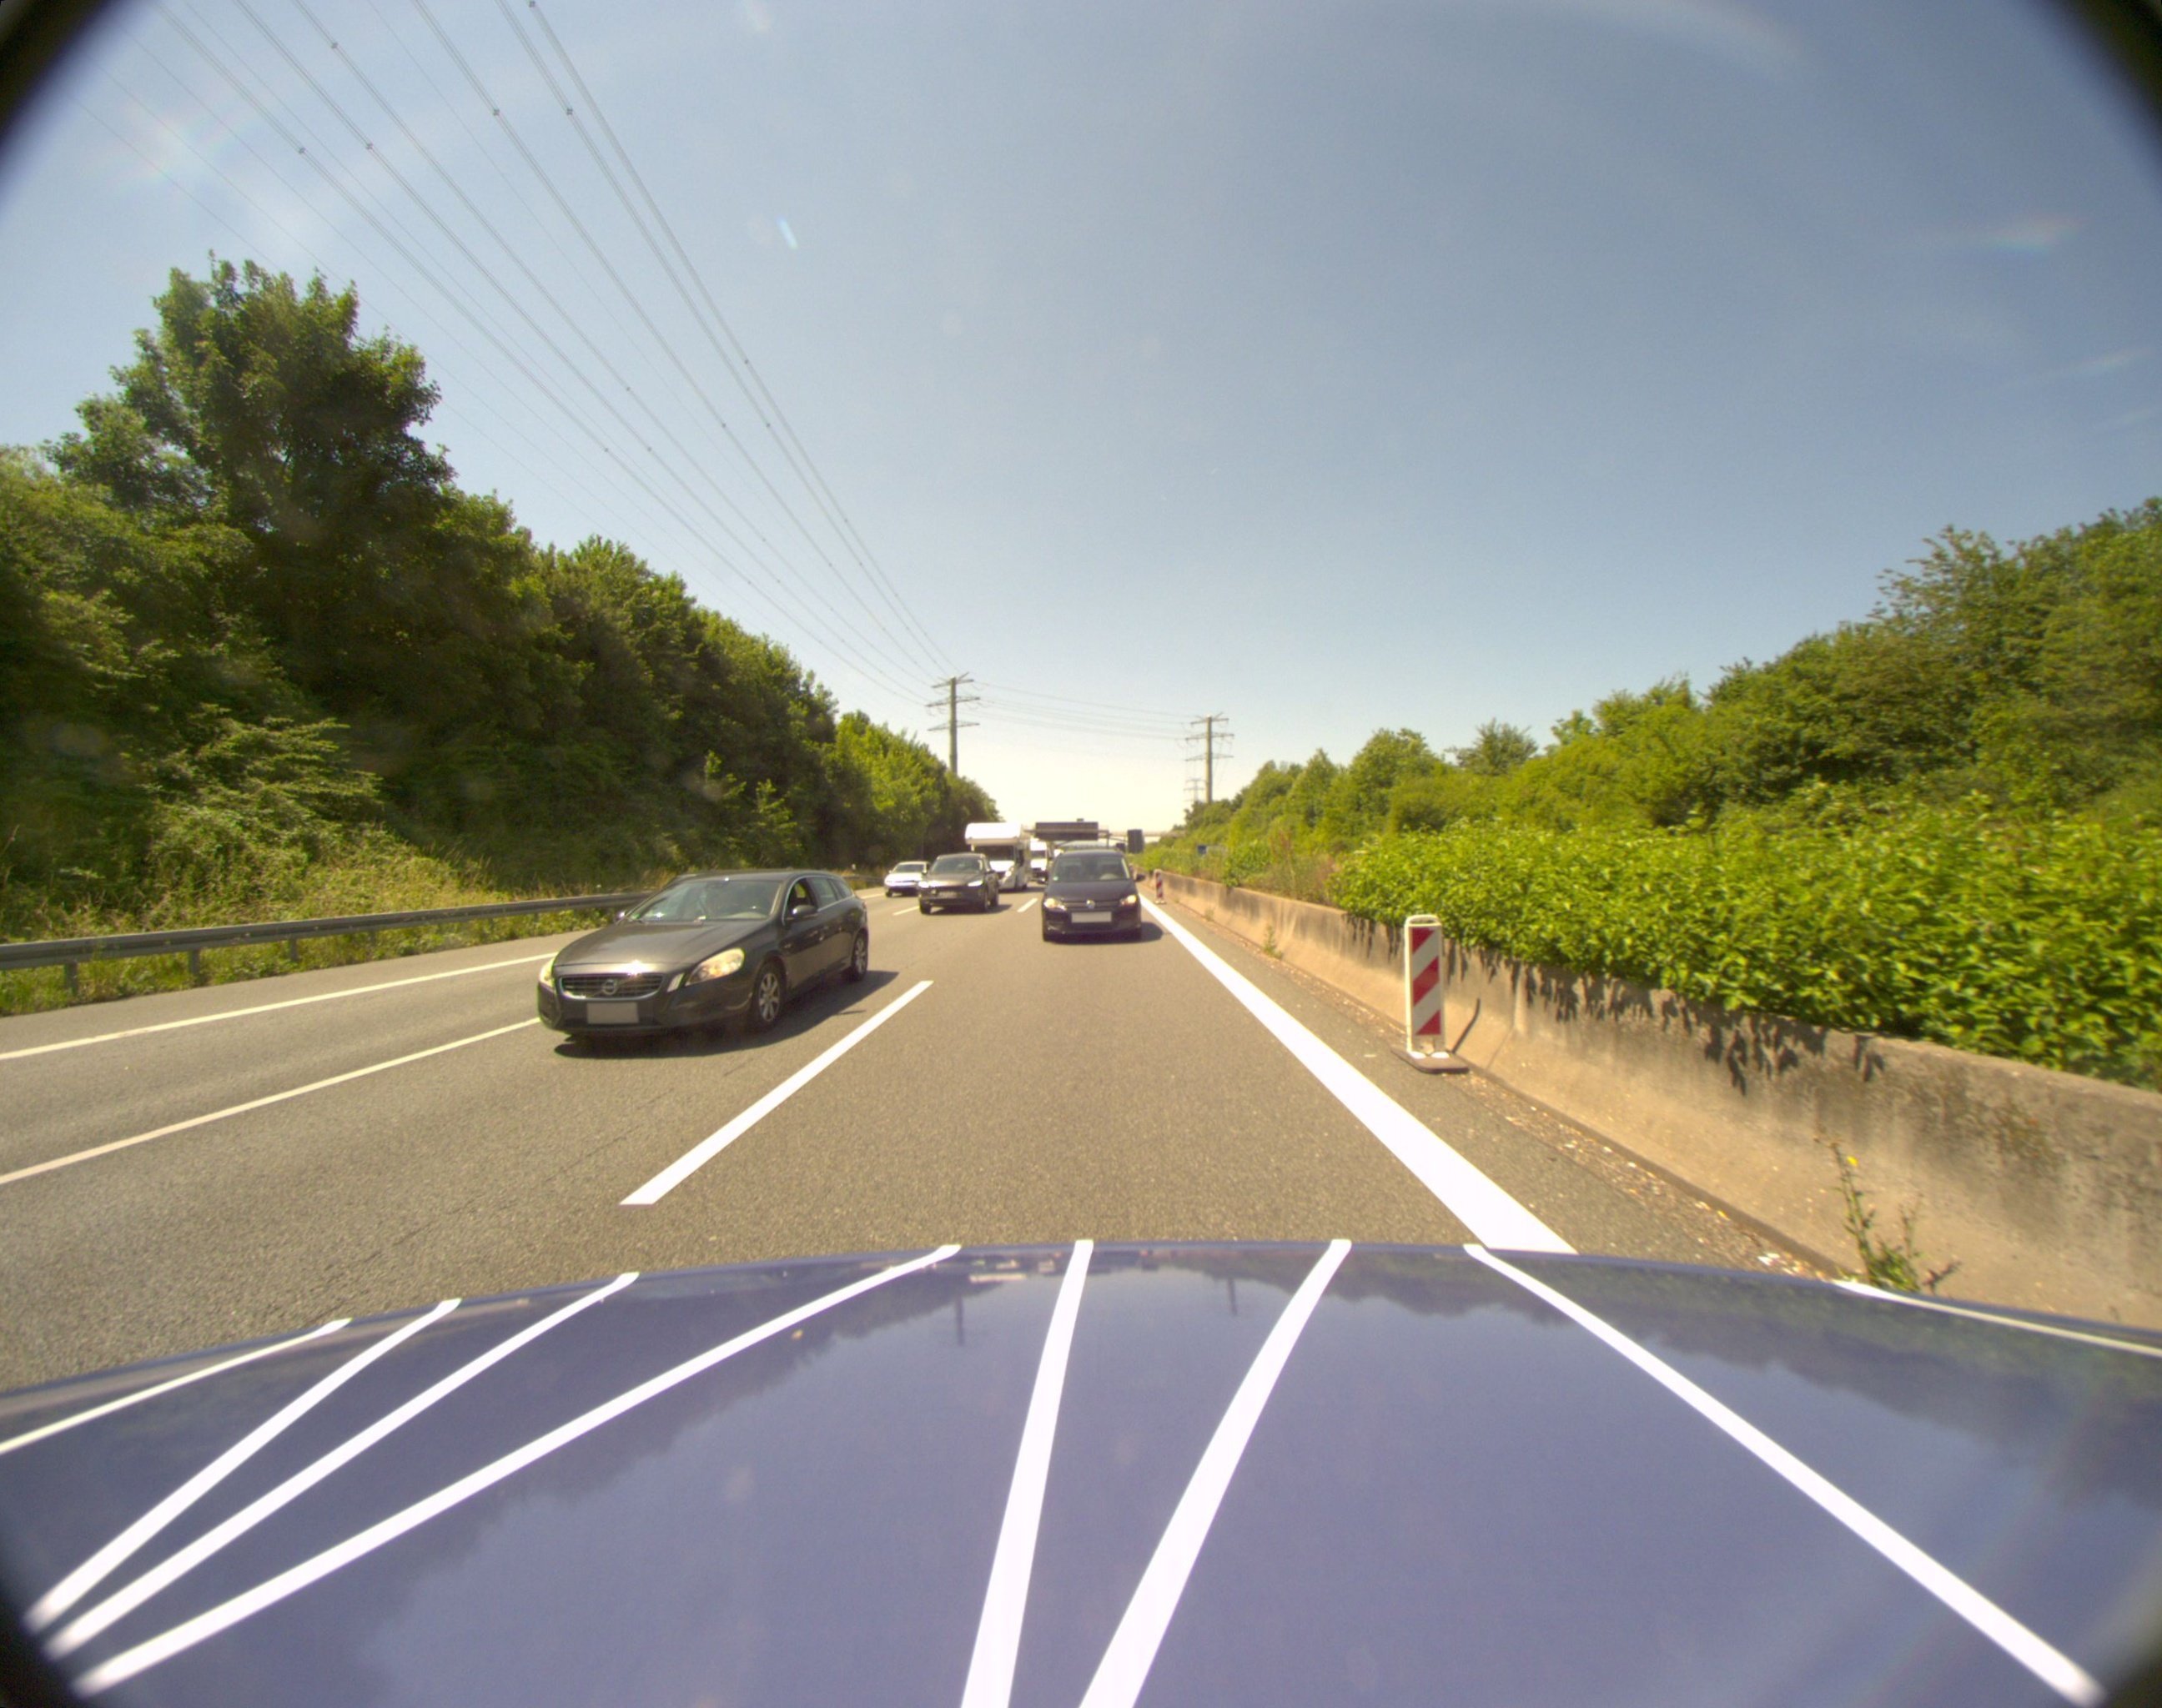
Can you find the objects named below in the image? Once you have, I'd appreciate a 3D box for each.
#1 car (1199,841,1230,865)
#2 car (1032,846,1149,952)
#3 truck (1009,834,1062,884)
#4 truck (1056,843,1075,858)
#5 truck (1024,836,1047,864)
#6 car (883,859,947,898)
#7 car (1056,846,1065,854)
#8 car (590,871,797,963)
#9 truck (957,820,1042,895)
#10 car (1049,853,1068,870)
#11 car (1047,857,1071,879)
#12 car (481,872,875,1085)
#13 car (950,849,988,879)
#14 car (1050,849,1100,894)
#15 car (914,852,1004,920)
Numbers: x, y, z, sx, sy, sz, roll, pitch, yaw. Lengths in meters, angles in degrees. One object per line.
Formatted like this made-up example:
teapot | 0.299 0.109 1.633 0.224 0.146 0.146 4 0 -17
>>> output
car | 17.339 -0.194 99.089 2.769 2.856 7.676 -2 1 1
car | 0.149 0.732 14.848 1.892 1.693 4.383 -2 1 0
truck | -2.918 0.234 51.736 2.514 2.997 9.897 -2 1 2
truck | -2.233 -0.560 113.826 2.408 2.203 6.744 -2 1 2
truck | -6.034 -0.572 102.700 2.409 3.557 9.190 -2 1 0
car | -7.069 1.012 32.793 1.745 1.461 4.014 -2 0 1
car | -5.156 -1.105 195.864 1.998 2.002 4.000 -2 1 2
car | -7.380 1.117 15.043 1.739 1.370 4.302 -2 1 1
truck | -3.644 0.090 36.365 2.514 2.997 9.897 -2 1 2
car | -2.468 0.816 85.060 1.892 1.693 4.383 -2 1 0
car | -1.907 1.200 66.019 1.892 1.693 4.383 -2 1 0
car | -3.645 1.002 7.918 1.800 1.429 4.230 -2 1 0
car | -7.652 0.657 52.443 1.788 1.893 4.698 -2 1 1
car | -0.225 0.656 31.852 1.892 1.693 4.383 -2 1 0
car | -3.438 0.843 22.245 1.892 1.693 4.383 -2 1 0
